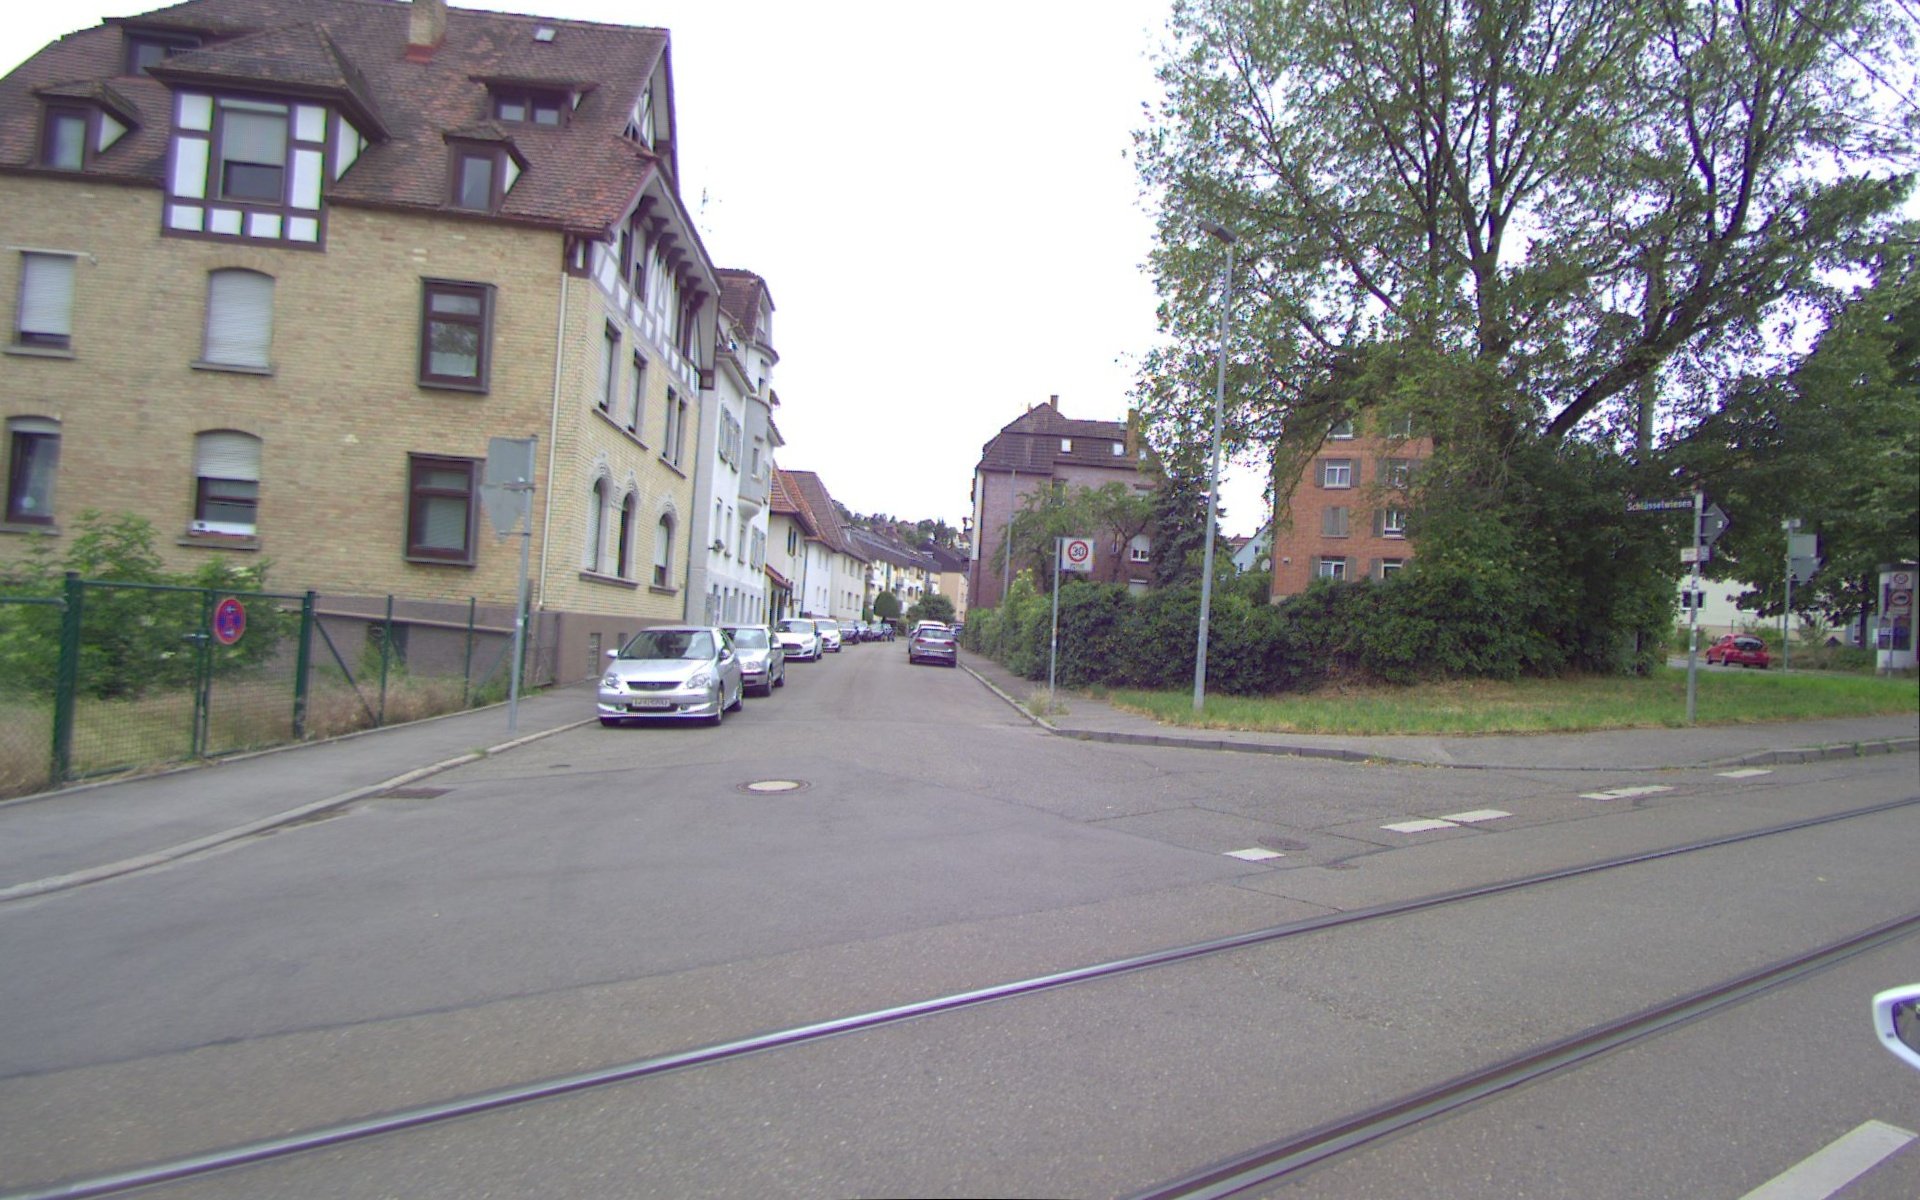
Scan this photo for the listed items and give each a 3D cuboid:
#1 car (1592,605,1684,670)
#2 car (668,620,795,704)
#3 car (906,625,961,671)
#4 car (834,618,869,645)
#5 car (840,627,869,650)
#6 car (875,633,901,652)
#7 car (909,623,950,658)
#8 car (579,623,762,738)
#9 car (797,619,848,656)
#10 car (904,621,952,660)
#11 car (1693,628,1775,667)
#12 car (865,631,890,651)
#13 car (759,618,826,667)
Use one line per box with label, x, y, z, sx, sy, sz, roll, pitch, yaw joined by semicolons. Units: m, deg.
car;19.516;1.065;29.062;1.965;1.684;3.991;2;0;31
car;-4.727;1.237;21.352;1.962;1.514;3.998;2;0;-4
car;-1.020;1.799;38.467;1.961;1.514;3.999;2;0;-2
car;-6.772;1.958;62.826;1.962;1.514;3.998;2;0;-4
car;-7.840;2.855;75.012;1.962;1.514;3.998;2;0;-4
car;-6.494;3.833;90.910;1.960;1.514;4.000;2;0;1
car;-1.484;1.941;49.128;1.907;1.514;3.999;2;0;-2
car;-4.311;1.140;15.604;1.854;1.437;3.998;2;0;-4
car;-6.116;1.645;45.123;1.916;1.514;3.998;2;0;-4
car;-1.379;1.719;43.494;1.907;1.514;3.877;2;0;-2
car;35.290;2.139;45.913;1.961;1.617;3.998;2;0;23
car;-6.944;3.441;84.472;1.962;1.514;3.998;2;0;-4
car;-5.784;1.446;35.043;1.855;1.514;3.998;2;0;-4
